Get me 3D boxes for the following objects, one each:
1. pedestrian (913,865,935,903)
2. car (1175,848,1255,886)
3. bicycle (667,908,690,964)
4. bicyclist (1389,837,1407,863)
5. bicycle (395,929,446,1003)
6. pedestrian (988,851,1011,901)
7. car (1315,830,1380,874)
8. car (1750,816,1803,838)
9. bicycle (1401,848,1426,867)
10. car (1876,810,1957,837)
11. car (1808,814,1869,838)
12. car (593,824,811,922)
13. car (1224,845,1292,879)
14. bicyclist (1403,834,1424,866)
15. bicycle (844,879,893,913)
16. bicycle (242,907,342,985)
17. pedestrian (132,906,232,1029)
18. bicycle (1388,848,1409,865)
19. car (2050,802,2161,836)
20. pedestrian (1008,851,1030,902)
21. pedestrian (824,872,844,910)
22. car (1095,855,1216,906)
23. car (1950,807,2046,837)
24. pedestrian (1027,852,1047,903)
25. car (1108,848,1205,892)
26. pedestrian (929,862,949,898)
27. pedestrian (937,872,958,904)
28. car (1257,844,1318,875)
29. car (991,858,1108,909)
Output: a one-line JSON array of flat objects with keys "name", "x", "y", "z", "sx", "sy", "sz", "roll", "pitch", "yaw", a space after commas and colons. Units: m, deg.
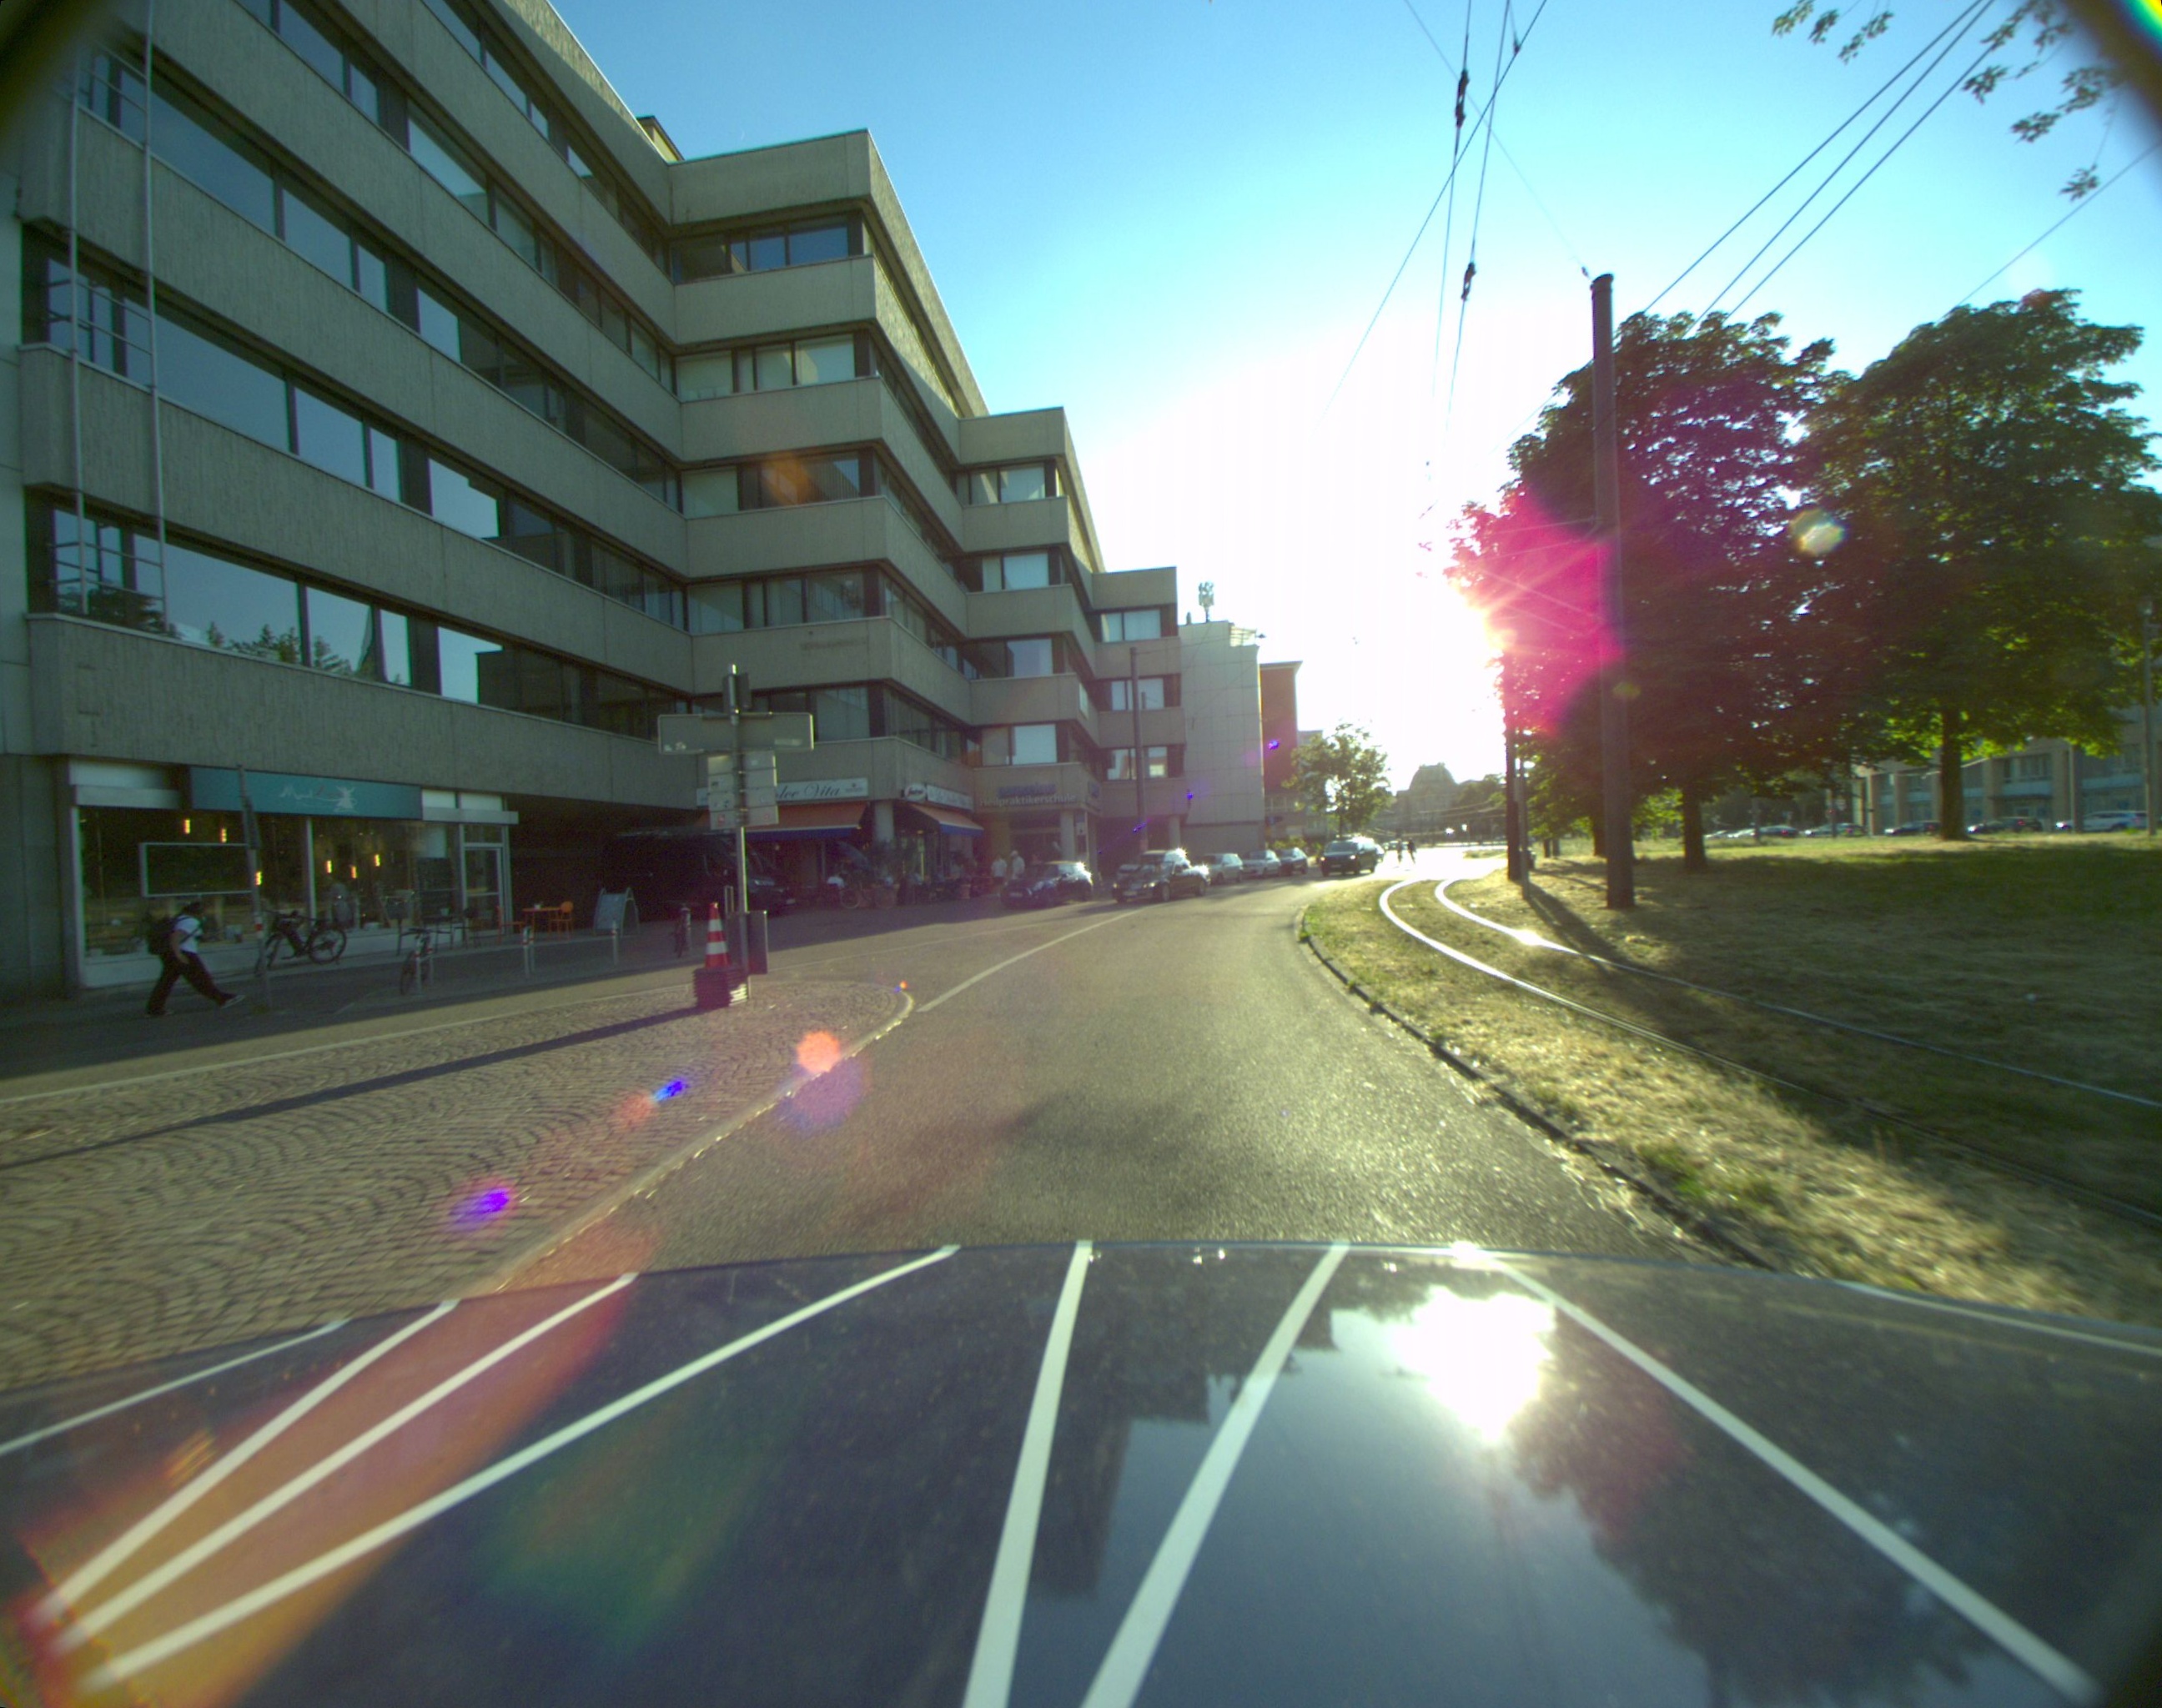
[{"name": "pedestrian", "x": -5.624, "y": 1.069, "z": 27.194, "sx": 0.611, "sy": 1.313, "sz": 0.559, "roll": -2, "pitch": 1, "yaw": 1}, {"name": "car", "x": 6.643, "y": 0.608, "z": 37.233, "sx": 1.995, "sy": 1.596, "sz": 4.531, "roll": -3, "pitch": 1, "yaw": 36}, {"name": "bicycle", "x": -7.965, "y": 1.605, "z": 15.023, "sx": 0.303, "sy": 0.987, "sz": 1.291, "roll": -4, "pitch": 1, "yaw": -30}, {"name": "bicyclist", "x": 22.334, "y": -0.280, "z": 53.534, "sx": 0.859, "sy": 1.773, "sz": 0.988, "roll": -1, "pitch": 1, "yaw": 36}, {"name": "bicycle", "x": -10.280, "y": 1.710, "z": 11.852, "sx": 0.303, "sy": 0.987, "sz": 1.291, "roll": -4, "pitch": 1, "yaw": -30}, {"name": "pedestrian", "x": -3.038, "y": 0.815, "z": 28.472, "sx": 0.619, "sy": 1.827, "sz": 0.537, "roll": 2, "pitch": 2, "yaw": 21}, {"name": "car", "x": 14.551, "y": -0.136, "z": 41.346, "sx": 1.995, "sy": 2.143, "sz": 4.531, "roll": -3, "pitch": 1, "yaw": 36}, {"name": "car", "x": 71.830, "y": -2.750, "z": 78.561, "sx": 1.997, "sy": 2.002, "sz": 4.002, "roll": -3, "pitch": 0, "yaw": 7}, {"name": "bicycle", "x": 21.068, "y": 0.214, "z": 48.088, "sx": 0.933, "sy": 1.070, "sz": 2.225, "roll": -3, "pitch": 1, "yaw": 36}, {"name": "car", "x": 69.460, "y": -2.488, "z": 63.264, "sx": 1.997, "sy": 2.002, "sz": 4.550, "roll": -3, "pitch": 0, "yaw": 7}, {"name": "car", "x": 70.630, "y": -2.616, "z": 70.939, "sx": 1.997, "sy": 2.002, "sz": 4.002, "roll": -3, "pitch": 0, "yaw": 7}, {"name": "car", "x": -11.217, "y": 0.543, "z": 22.715, "sx": 5.427, "sy": 2.711, "sz": 2.182, "roll": -1, "pitch": 1, "yaw": 7}, {"name": "car", "x": 9.955, "y": 0.420, "z": 42.423, "sx": 1.995, "sy": 1.596, "sz": 4.531, "roll": -3, "pitch": 1, "yaw": 36}, {"name": "bicyclist", "x": 21.028, "y": -0.245, "z": 48.070, "sx": 0.922, "sy": 1.962, "sz": 1.115, "roll": -3, "pitch": 1, "yaw": 36}, {"name": "bicycle", "x": -6.650, "y": 1.296, "z": 23.822, "sx": 1.447, "sy": 0.987, "sz": 0.530, "roll": -1, "pitch": 2, "yaw": -17}, {"name": "bicycle", "x": -13.903, "y": 1.588, "z": 13.438, "sx": 0.488, "sy": 1.185, "sz": 1.425, "roll": -4, "pitch": 1, "yaw": -14}, {"name": "pedestrian", "x": -12.376, "y": 1.526, "z": 10.470, "sx": 0.568, "sy": 1.528, "sz": 0.794, "roll": 0, "pitch": 2, "yaw": 37}, {"name": "bicycle", "x": 22.423, "y": 0.188, "z": 53.625, "sx": 0.872, "sy": 1.090, "sz": 1.853, "roll": -3, "pitch": 1, "yaw": 37}, {"name": "car", "x": 68.060, "y": -2.293, "z": 50.412, "sx": 1.997, "sy": 2.002, "sz": 4.550, "roll": -3, "pitch": 0, "yaw": 7}, {"name": "pedestrian", "x": -2.285, "y": 0.821, "z": 28.075, "sx": 0.572, "sy": 1.827, "sz": 0.605, "roll": 2, "pitch": 2, "yaw": 22}, {"name": "pedestrian", "x": -7.884, "y": 1.173, "z": 24.251, "sx": 0.461, "sy": 1.187, "sz": 0.421, "roll": 2, "pitch": 1, "yaw": 10}, {"name": "car", "x": 2.637, "y": 0.855, "z": 25.828, "sx": 1.995, "sy": 1.386, "sz": 4.531, "roll": -3, "pitch": 1, "yaw": 36}, {"name": "car", "x": 68.577, "y": -2.384, "z": 56.957, "sx": 1.997, "sy": 2.002, "sz": 4.550, "roll": -3, "pitch": 0, "yaw": 7}, {"name": "pedestrian", "x": -1.594, "y": 0.841, "z": 27.508, "sx": 0.532, "sy": 1.827, "sz": 0.500, "roll": 2, "pitch": 2, "yaw": 21}, {"name": "car", "x": 3.301, "y": 0.658, "z": 32.521, "sx": 1.995, "sy": 1.596, "sz": 4.531, "roll": -3, "pitch": 1, "yaw": 36}, {"name": "pedestrian", "x": -5.467, "y": 0.996, "z": 29.339, "sx": 0.611, "sy": 1.313, "sz": 0.591, "roll": -2, "pitch": 1, "yaw": 1}, {"name": "pedestrian", "x": -4.701, "y": 1.208, "z": 26.798, "sx": 0.611, "sy": 1.081, "sz": 0.559, "roll": -2, "pitch": 1, "yaw": 1}, {"name": "car", "x": 12.629, "y": 0.303, "z": 46.349, "sx": 1.995, "sy": 1.596, "sz": 4.531, "roll": -3, "pitch": 1, "yaw": 36}, {"name": "car", "x": -0.973, "y": 0.964, "z": 25.708, "sx": 1.790, "sy": 1.434, "sz": 4.007, "roll": -3, "pitch": 1, "yaw": 35}]
